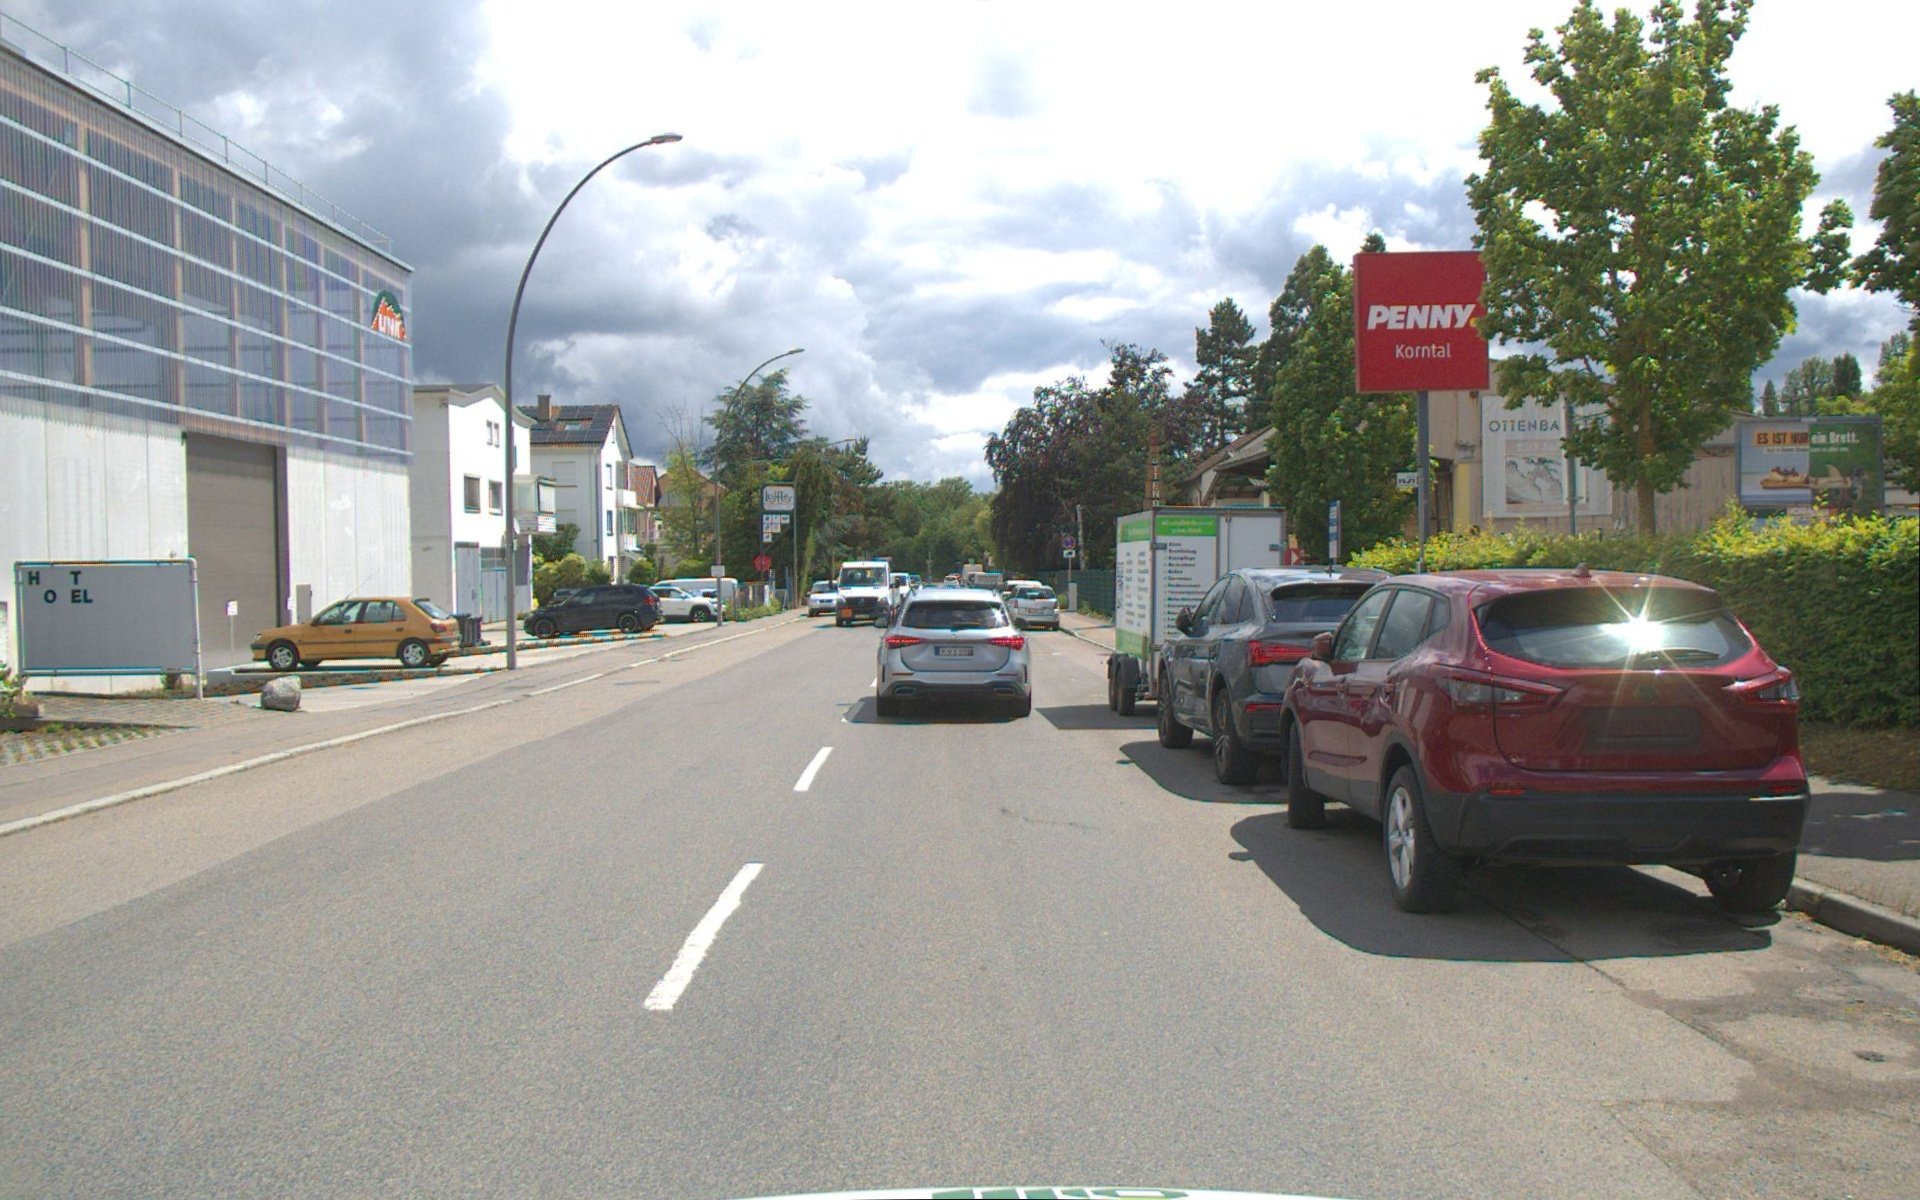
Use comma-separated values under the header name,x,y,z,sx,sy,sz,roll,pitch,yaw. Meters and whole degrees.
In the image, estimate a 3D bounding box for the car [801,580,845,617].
name,x,y,z,sx,sy,sz,roll,pitch,yaw
car,-6.565,-0.084,79.361,1.755,1.631,4.363,-2,1,-1

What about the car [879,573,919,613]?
name,x,y,z,sx,sy,sz,roll,pitch,yaw
car,-3.080,-0.373,84.296,1.953,1.921,5.116,-1,1,-1

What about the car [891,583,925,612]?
name,x,y,z,sx,sy,sz,roll,pitch,yaw
car,-3.390,-0.185,107.702,1.952,1.763,4.549,-2,1,1

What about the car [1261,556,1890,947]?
name,x,y,z,sx,sy,sz,roll,pitch,yaw
car,2.991,0.602,9.179,1.901,1.598,4.447,-1,1,1

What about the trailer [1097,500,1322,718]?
name,x,y,z,sx,sy,sz,roll,pitch,yaw
trailer,2.905,0.076,20.246,1.902,2.334,4.444,-1,1,-2

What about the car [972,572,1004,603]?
name,x,y,z,sx,sy,sz,roll,pitch,yaw
car,1.912,-0.886,114.910,2.100,2.018,5.261,-1,1,0

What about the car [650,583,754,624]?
name,x,y,z,sx,sy,sz,roll,pitch,yaw
car,-11.159,0.162,71.771,4.193,1.594,1.990,-1,-3,-2

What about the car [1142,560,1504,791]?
name,x,y,z,sx,sy,sz,roll,pitch,yaw
car,2.852,0.506,14.074,1.903,1.598,4.443,-1,1,-3

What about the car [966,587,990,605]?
name,x,y,z,sx,sy,sz,roll,pitch,yaw
car,1.484,-0.324,134.994,1.749,1.510,4.314,0,0,-3

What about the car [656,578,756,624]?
name,x,y,z,sx,sy,sz,roll,pitch,yaw
car,-11.353,0.067,74.137,4.193,1.868,1.990,-1,-3,-2

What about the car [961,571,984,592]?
name,x,y,z,sx,sy,sz,roll,pitch,yaw
car,1.057,-1.583,139.976,1.749,1.745,4.314,0,0,-3

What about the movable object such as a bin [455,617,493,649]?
name,x,y,z,sx,sy,sz,roll,pitch,yaw
movable object such as a bin,-15.724,1.060,53.512,0.728,0.935,1.519,-2,1,1

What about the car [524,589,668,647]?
name,x,y,z,sx,sy,sz,roll,pitch,yaw
car,-12.713,0.605,57.957,4.536,1.661,2.196,-4,1,-4

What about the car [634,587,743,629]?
name,x,y,z,sx,sy,sz,roll,pitch,yaw
car,-11.281,0.351,68.831,4.192,1.594,1.991,-1,-3,-1

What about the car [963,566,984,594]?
name,x,y,z,sx,sy,sz,roll,pitch,yaw
car,1.235,-1.809,152.463,1.749,2.562,4.314,0,0,-3

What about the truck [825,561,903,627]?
name,x,y,z,sx,sy,sz,roll,pitch,yaw
truck,-3.453,-0.266,60.901,2.271,2.216,6.450,-2,1,1

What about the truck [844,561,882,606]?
name,x,y,z,sx,sy,sz,roll,pitch,yaw
truck,-6.603,-1.169,113.084,2.032,2.863,7.078,-2,1,0

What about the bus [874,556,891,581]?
name,x,y,z,sx,sy,sz,roll,pitch,yaw
bus,-11.234,-4.572,239.402,1.955,3.423,6.974,1,1,-6

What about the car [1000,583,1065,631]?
name,x,y,z,sx,sy,sz,roll,pitch,yaw
car,2.405,0.205,55.971,1.756,1.475,4.361,-2,1,-3

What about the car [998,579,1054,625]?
name,x,y,z,sx,sy,sz,roll,pitch,yaw
car,2.418,0.054,61.715,1.755,1.579,4.572,-2,1,-1

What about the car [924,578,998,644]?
name,x,y,z,sx,sy,sz,roll,pitch,yaw
car,-0.009,0.242,42.257,1.720,1.585,3.999,-1,1,-2

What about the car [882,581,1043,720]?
name,x,y,z,sx,sy,sz,roll,pitch,yaw
car,-0.060,0.548,20.182,1.749,1.510,4.314,0,0,-3

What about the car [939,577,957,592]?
name,x,y,z,sx,sy,sz,roll,pitch,yaw
car,-1.268,-1.637,172.496,1.720,1.585,3.999,-1,1,-1

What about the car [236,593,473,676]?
name,x,y,z,sx,sy,sz,roll,pitch,yaw
car,-12.040,0.668,33.092,4.068,1.518,1.824,1,1,-4

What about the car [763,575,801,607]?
name,x,y,z,sx,sy,sz,roll,pitch,yaw
car,-9.988,-0.537,92.885,1.954,1.686,3.997,-2,1,-5

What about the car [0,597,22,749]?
name,x,y,z,sx,sy,sz,roll,pitch,yaw
car,-11.659,0.787,16.397,3.553,1.559,1.980,-1,1,1
